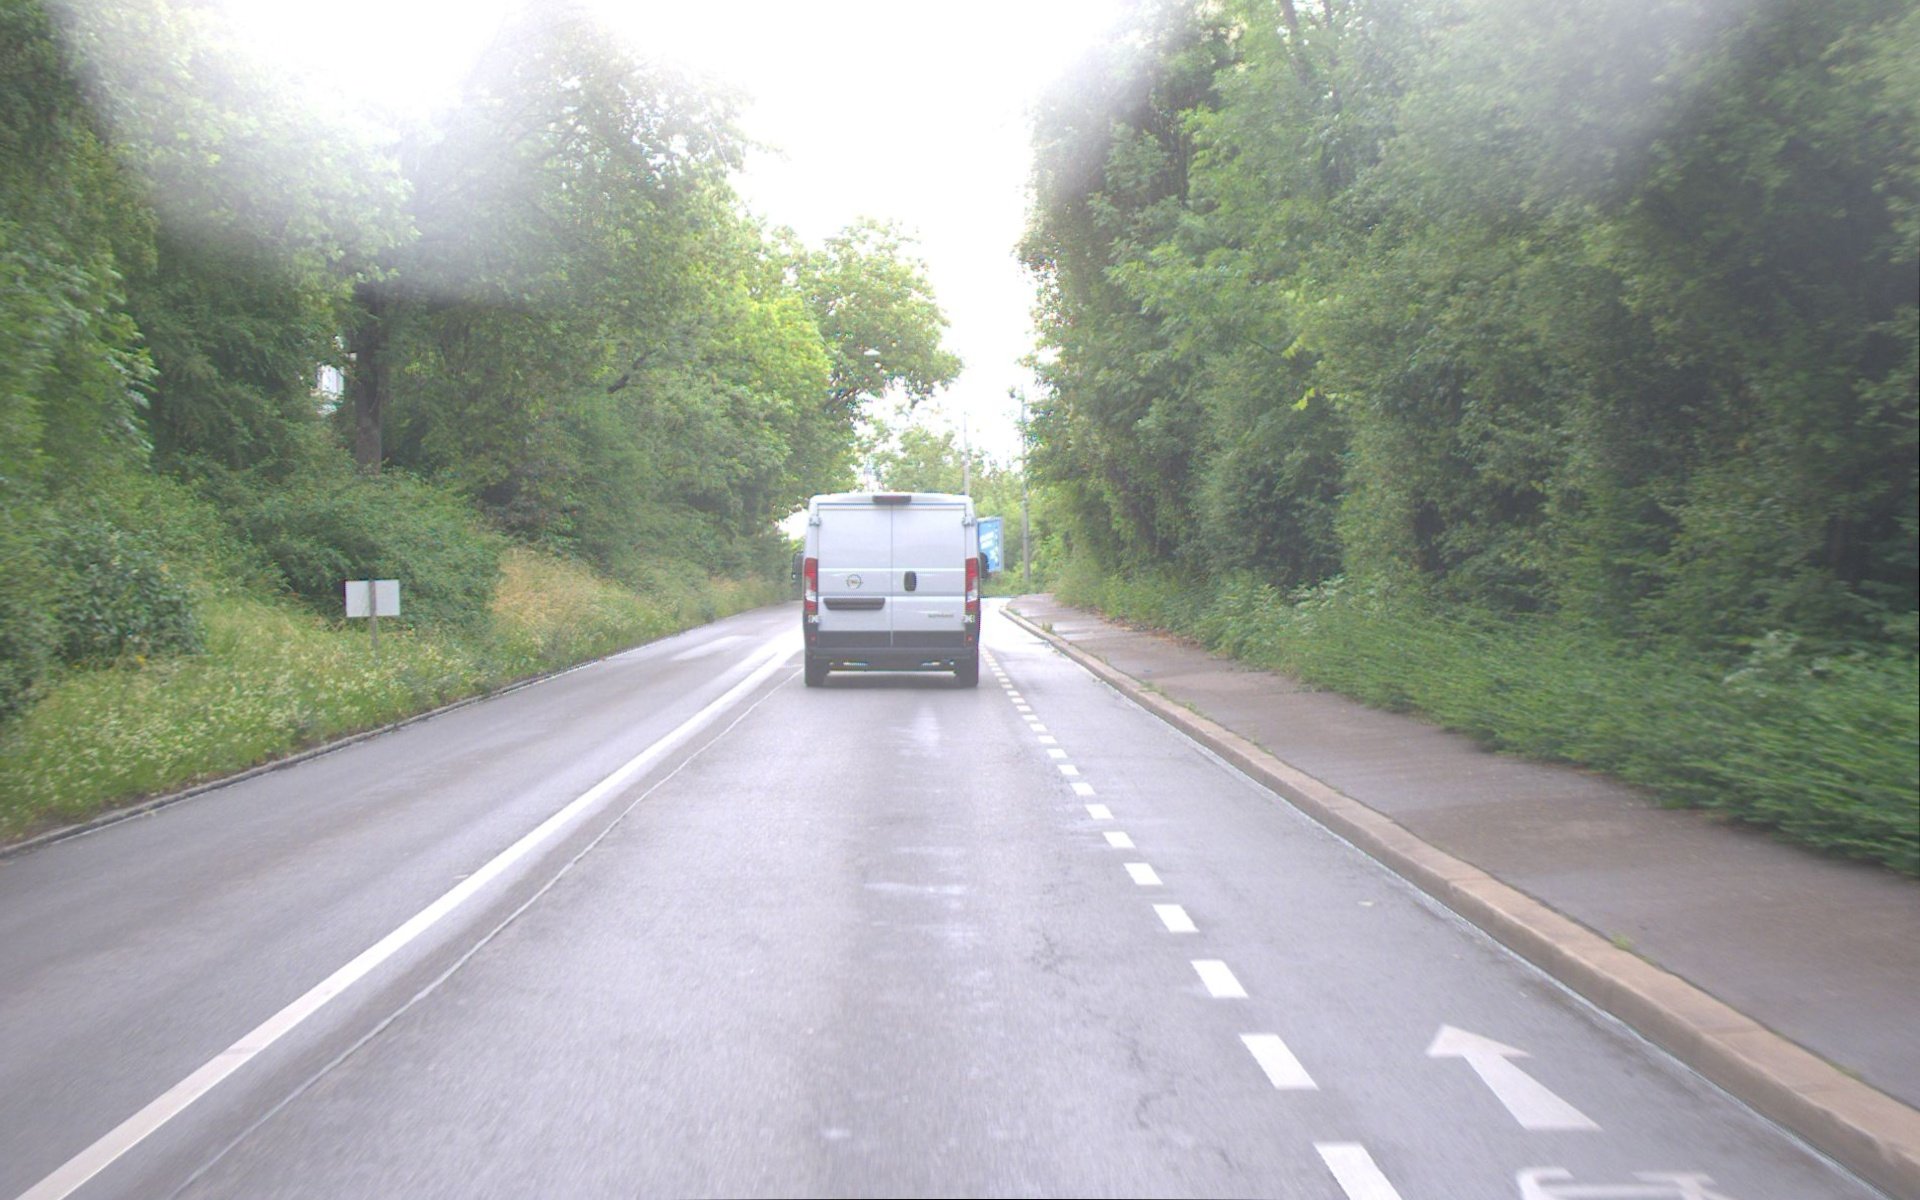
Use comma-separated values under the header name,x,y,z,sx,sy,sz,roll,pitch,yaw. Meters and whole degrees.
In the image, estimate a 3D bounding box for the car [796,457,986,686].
name,x,y,z,sx,sy,sz,roll,pitch,yaw
car,-0.786,-0.378,41.315,2.050,2.508,4.944,2,1,0
